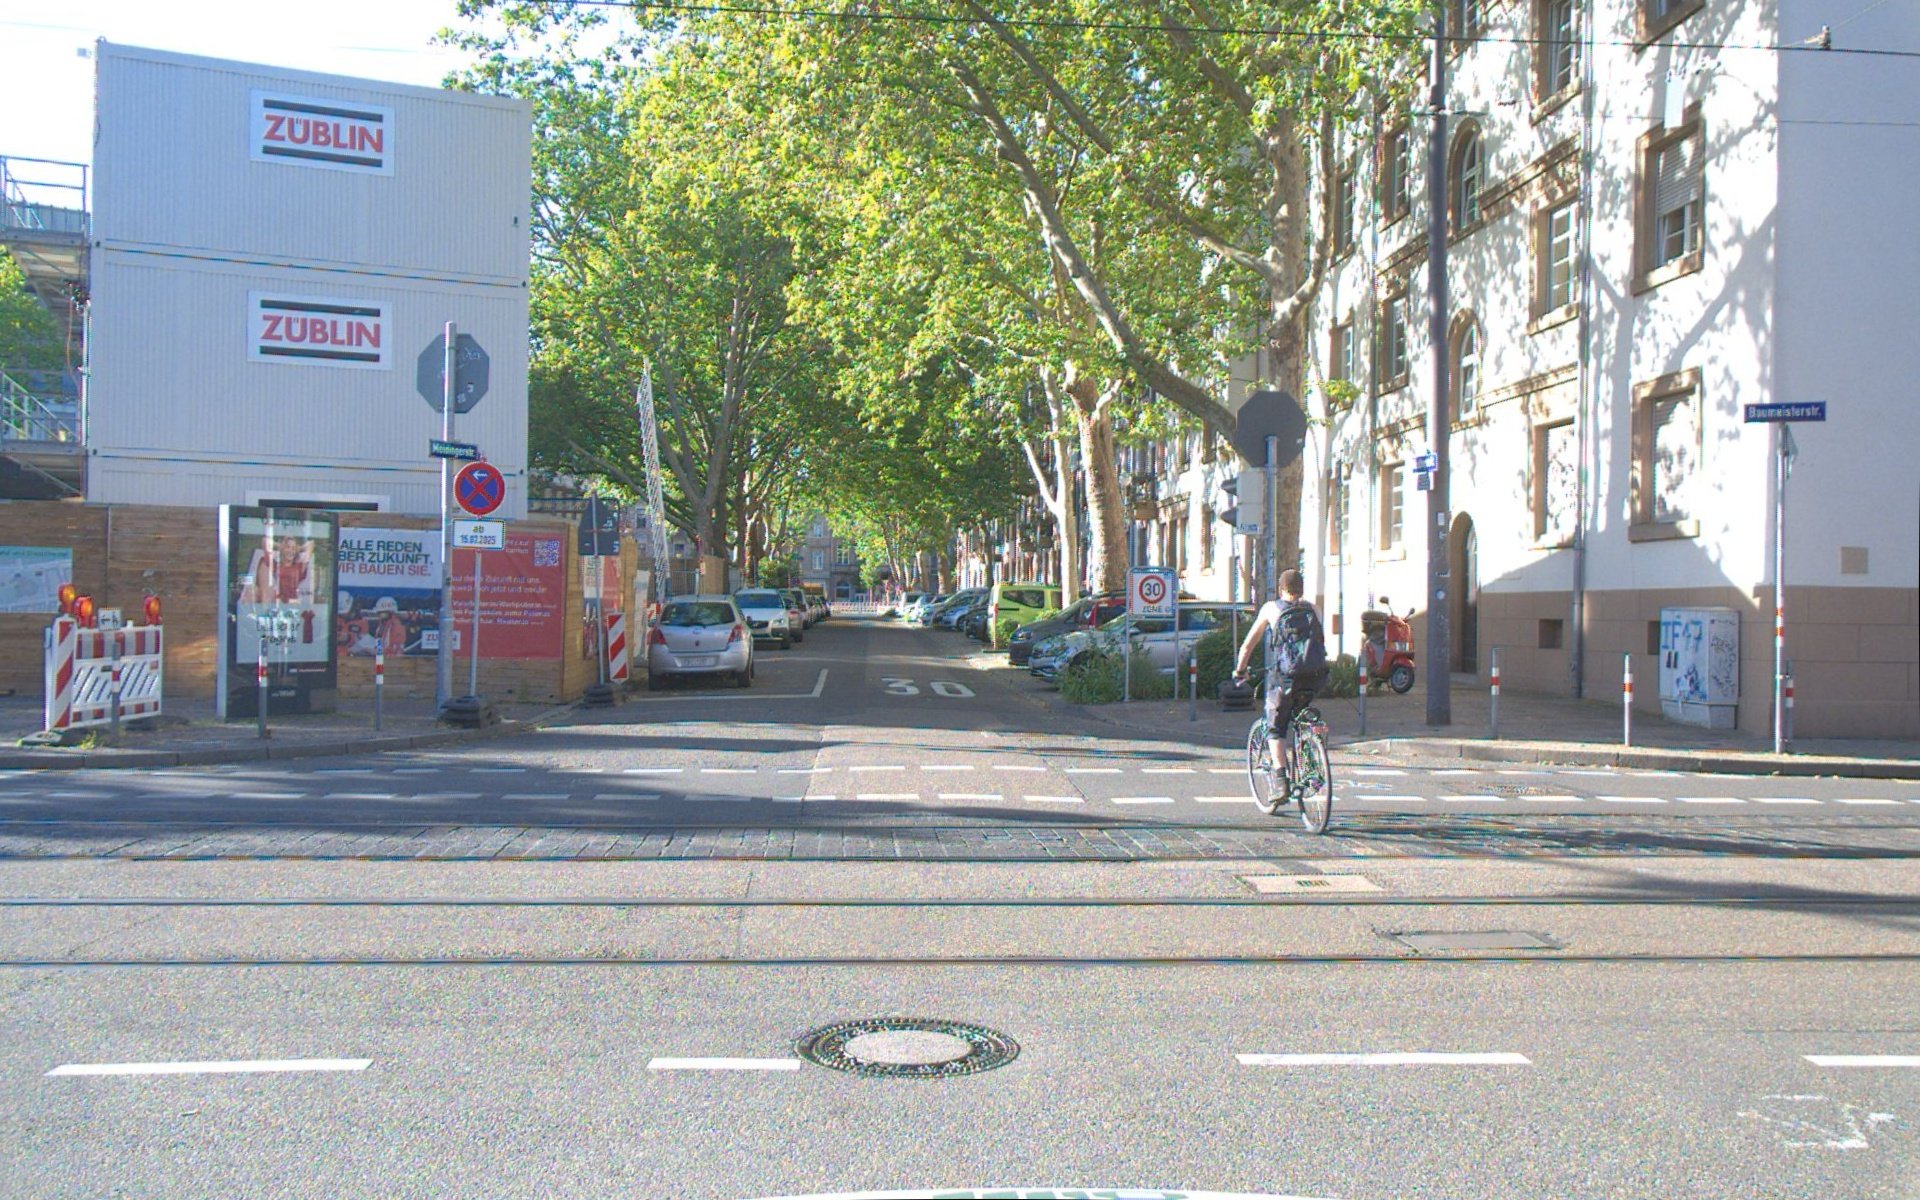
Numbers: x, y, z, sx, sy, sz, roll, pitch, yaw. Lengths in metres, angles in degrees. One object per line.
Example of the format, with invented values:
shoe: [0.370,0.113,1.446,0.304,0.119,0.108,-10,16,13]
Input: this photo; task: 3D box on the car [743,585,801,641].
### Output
car: [-5.661,0.364,50.168,1.633,1.590,4.513,1,0,-6]

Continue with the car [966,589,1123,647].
car: [2.417,0.513,48.108,4.374,1.598,1.726,1,0,-5]

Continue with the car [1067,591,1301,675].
car: [4.426,0.647,33.064,4.374,1.598,1.726,1,0,-5]

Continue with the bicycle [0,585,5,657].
bicycle: [-18.090,0.381,29.255,2.032,1.279,0.464,0,1,-42]

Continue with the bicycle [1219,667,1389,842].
bicycle: [2.394,1.046,11.727,0.676,1.034,1.906,2,0,-3]

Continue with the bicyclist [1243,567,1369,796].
bicyclist: [2.417,0.556,11.601,0.663,1.539,0.668,2,0,-4]

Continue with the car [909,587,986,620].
car: [-0.767,0.203,96.981,4.374,1.931,1.726,1,0,-5]

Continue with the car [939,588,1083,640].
car: [1.573,0.432,51.995,4.374,1.598,1.726,1,0,-5]

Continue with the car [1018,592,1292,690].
car: [3.266,0.679,28.144,4.374,1.598,1.726,1,0,-5]

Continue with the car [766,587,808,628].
car: [-6.978,0.283,66.855,1.633,1.590,4.611,1,0,-6]

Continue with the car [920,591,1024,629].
car: [0.505,0.415,71.801,4.374,1.598,1.726,1,0,-5]

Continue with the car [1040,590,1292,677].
car: [3.762,0.600,30.642,4.374,1.527,1.726,1,0,-5]

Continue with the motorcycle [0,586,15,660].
motorcycle: [-17.486,0.396,28.350,2.193,1.279,0.535,0,1,-42]

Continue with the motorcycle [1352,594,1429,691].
motorcycle: [6.281,0.594,24.201,0.504,1.356,1.761,1,0,-6]

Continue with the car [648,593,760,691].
car: [-4.325,0.657,28.387,1.612,1.520,3.995,-2,0,-6]

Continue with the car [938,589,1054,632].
car: [1.393,0.400,64.609,4.374,1.598,1.726,1,0,-5]

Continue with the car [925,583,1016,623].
car: [0.505,0.152,81.459,4.374,1.931,1.726,1,0,-5]

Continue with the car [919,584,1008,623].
car: [0.146,0.194,84.206,4.374,1.931,1.726,1,0,-5]

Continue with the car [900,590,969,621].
car: [-1.652,0.356,107.412,4.374,1.931,1.726,1,0,-5]

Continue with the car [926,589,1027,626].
car: [0.726,0.314,74.141,4.374,1.598,1.726,1,0,-5]

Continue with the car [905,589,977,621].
car: [-1.213,0.318,104.392,4.374,1.931,1.726,1,0,-5]

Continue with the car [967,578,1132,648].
car: [2.461,0.366,46.092,4.375,1.868,1.726,1,0,-6]

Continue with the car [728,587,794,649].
car: [-5.329,0.455,44.650,1.633,1.590,3.995,1,0,-6]

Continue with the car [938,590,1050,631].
car: [1.358,0.413,67.086,4.374,1.598,1.726,1,0,-5]

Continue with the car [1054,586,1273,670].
car: [4.280,0.577,35.145,4.374,1.700,1.726,1,0,-5]

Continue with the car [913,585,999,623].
car: [-0.235,0.192,87.054,4.374,1.931,1.726,1,0,-5]

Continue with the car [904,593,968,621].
car: [-1.727,0.462,116.553,4.374,1.931,1.726,1,0,-5]

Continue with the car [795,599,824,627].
car: [-8.926,0.772,97.996,1.633,1.590,4.214,1,0,-6]

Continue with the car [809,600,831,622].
car: [-10.769,0.846,127.403,1.633,1.590,4.214,1,0,-6]

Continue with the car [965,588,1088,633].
car: [2.455,0.392,61.477,4.374,1.598,1.726,1,0,-5]
